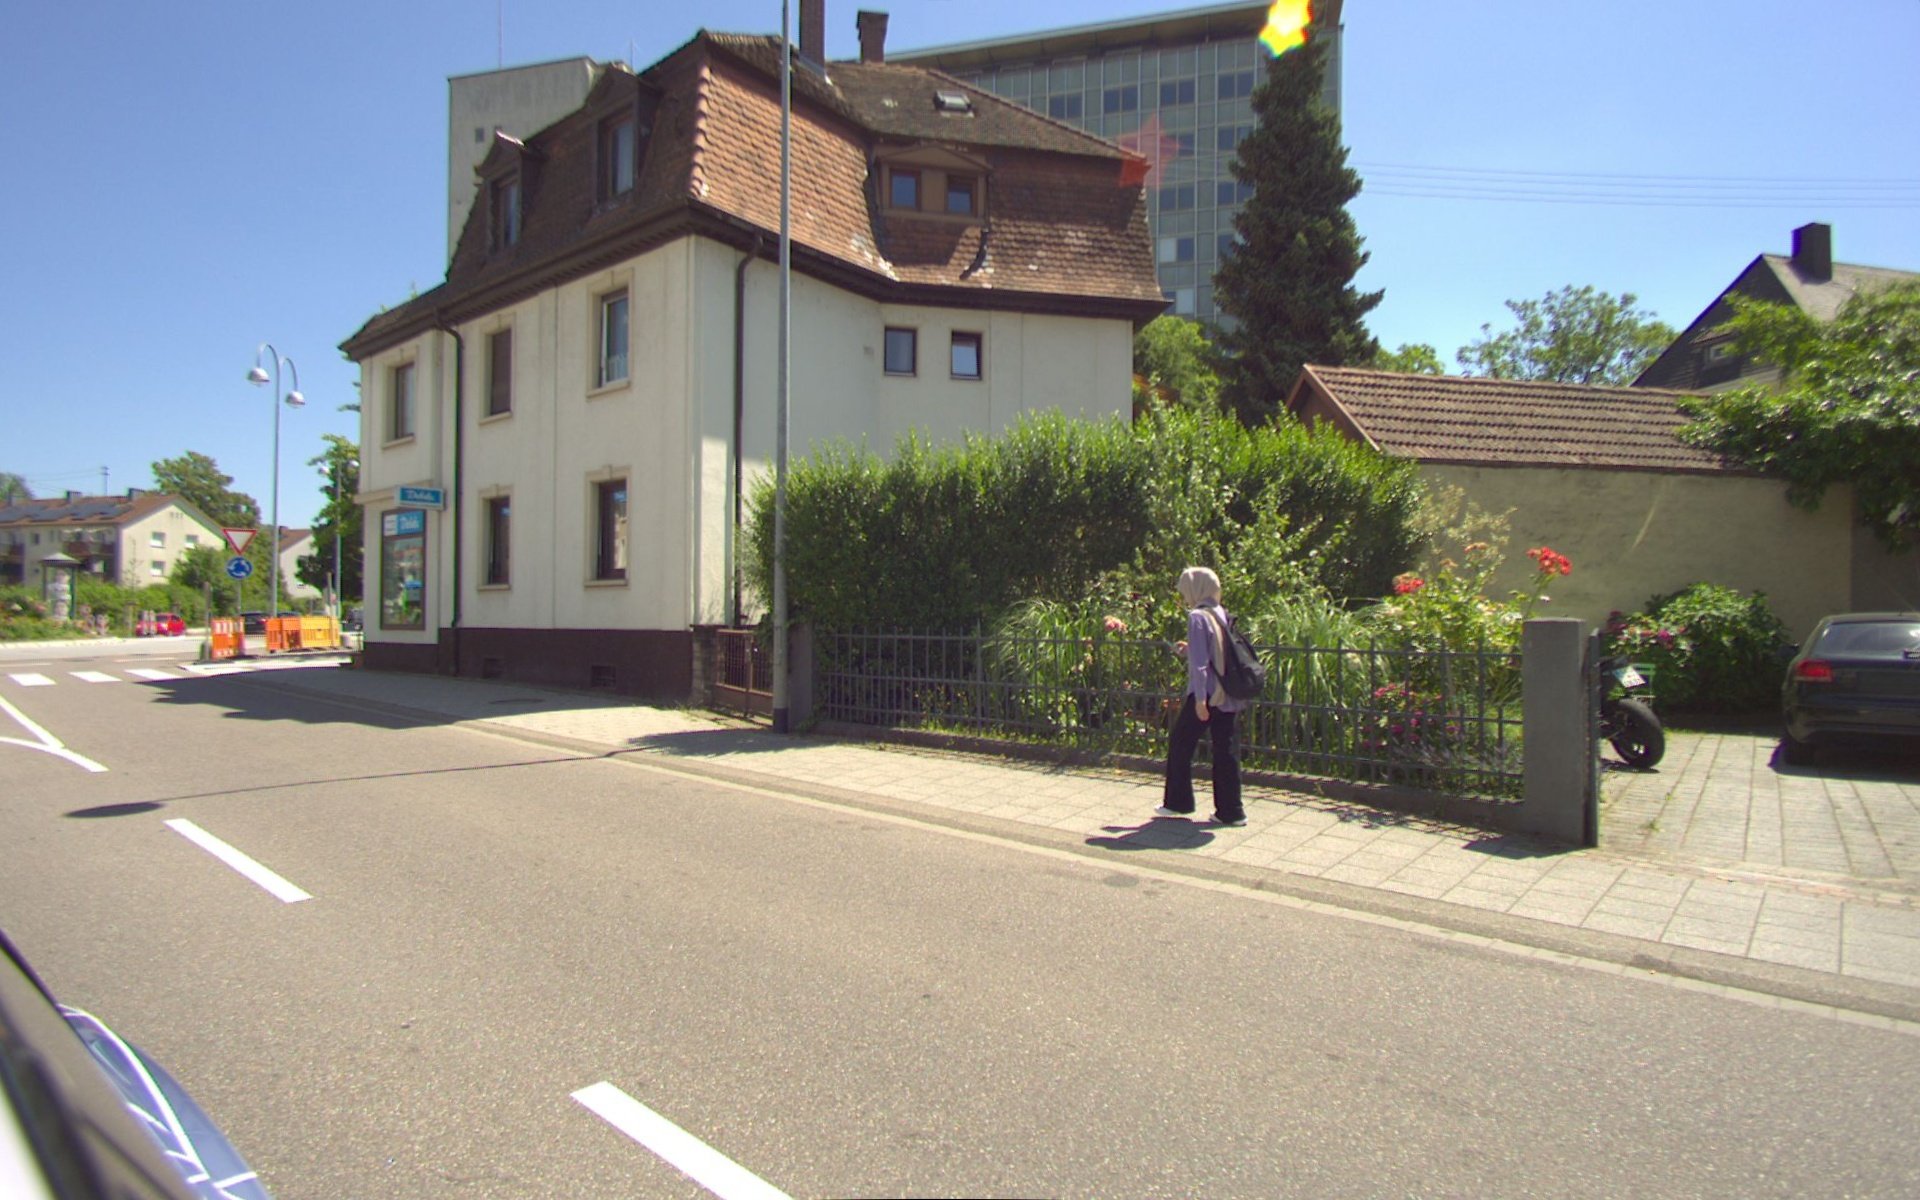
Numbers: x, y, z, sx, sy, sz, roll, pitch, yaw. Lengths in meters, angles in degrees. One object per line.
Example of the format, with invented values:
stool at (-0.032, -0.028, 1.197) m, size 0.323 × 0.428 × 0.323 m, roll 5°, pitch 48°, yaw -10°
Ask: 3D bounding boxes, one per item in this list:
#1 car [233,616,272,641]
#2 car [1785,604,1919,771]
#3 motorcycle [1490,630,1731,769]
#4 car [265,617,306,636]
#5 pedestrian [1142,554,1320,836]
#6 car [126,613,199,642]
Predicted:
car at (-39.573, 1.570, 56.676) m, size 1.703 × 1.305 × 4.011 m, roll -1°, pitch 0°, yaw -34°
car at (9.344, 0.767, 9.861) m, size 1.868 × 1.391 × 3.945 m, roll -1°, pitch -2°, yaw 41°
motorcycle at (6.014, 0.861, 9.555) m, size 0.705 × 1.114 × 2.148 m, roll 0°, pitch -1°, yaw -6°
car at (-49.382, 1.909, 74.176) m, size 1.754 × 1.366 × 4.067 m, roll 0°, pitch -1°, yaw -23°
pedestrian at (1.667, 0.537, 6.222) m, size 0.823 × 1.576 × 0.607 m, roll -1°, pitch 4°, yaw 40°
car at (-46.565, 1.572, 59.175) m, size 1.708 × 1.613 × 3.945 m, roll -1°, pitch 0°, yaw -11°
